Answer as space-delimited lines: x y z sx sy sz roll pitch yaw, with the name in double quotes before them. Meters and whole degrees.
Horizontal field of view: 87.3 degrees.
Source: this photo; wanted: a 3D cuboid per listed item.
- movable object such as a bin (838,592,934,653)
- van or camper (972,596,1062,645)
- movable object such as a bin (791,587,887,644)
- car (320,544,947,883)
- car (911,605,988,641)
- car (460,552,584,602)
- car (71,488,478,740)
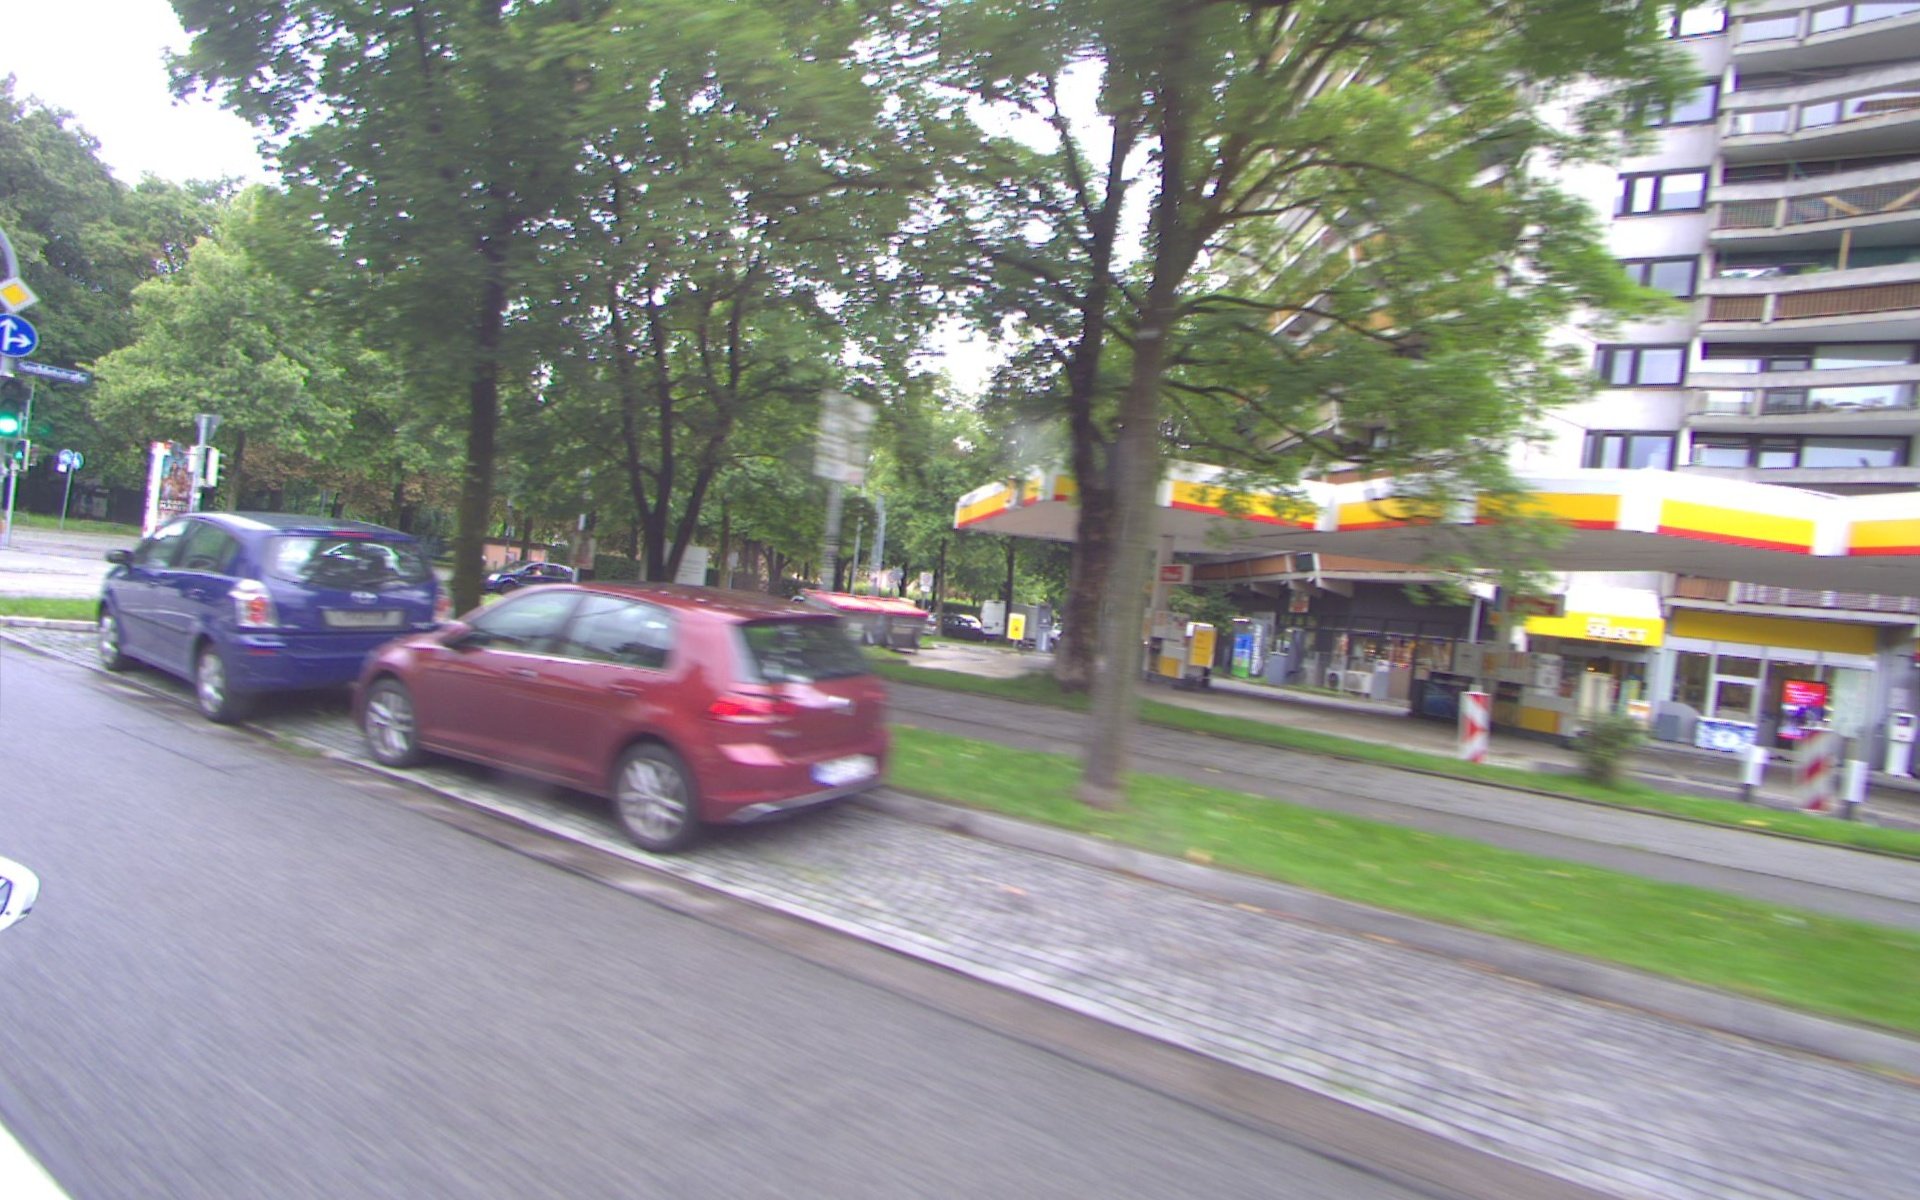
"movable object such as a bin" -2.131 0.666 29.255 1.807 1.505 2.063 7 0 32
"van or camper" 3.289 1.148 57.443 2.522 2.395 5.077 8 4 38
"movable object such as a bin" -3.267 0.443 27.345 1.506 1.278 2.062 7 0 31
"car" -2.374 0.527 6.951 4.211 1.444 1.712 7 4 30
"car" -0.493 1.157 51.808 1.742 1.633 4.021 8 4 38
"car" -16.759 -0.861 38.595 1.903 1.633 3.872 8 4 38
"car" -6.428 -0.019 9.260 4.216 1.682 1.760 7 4 36
